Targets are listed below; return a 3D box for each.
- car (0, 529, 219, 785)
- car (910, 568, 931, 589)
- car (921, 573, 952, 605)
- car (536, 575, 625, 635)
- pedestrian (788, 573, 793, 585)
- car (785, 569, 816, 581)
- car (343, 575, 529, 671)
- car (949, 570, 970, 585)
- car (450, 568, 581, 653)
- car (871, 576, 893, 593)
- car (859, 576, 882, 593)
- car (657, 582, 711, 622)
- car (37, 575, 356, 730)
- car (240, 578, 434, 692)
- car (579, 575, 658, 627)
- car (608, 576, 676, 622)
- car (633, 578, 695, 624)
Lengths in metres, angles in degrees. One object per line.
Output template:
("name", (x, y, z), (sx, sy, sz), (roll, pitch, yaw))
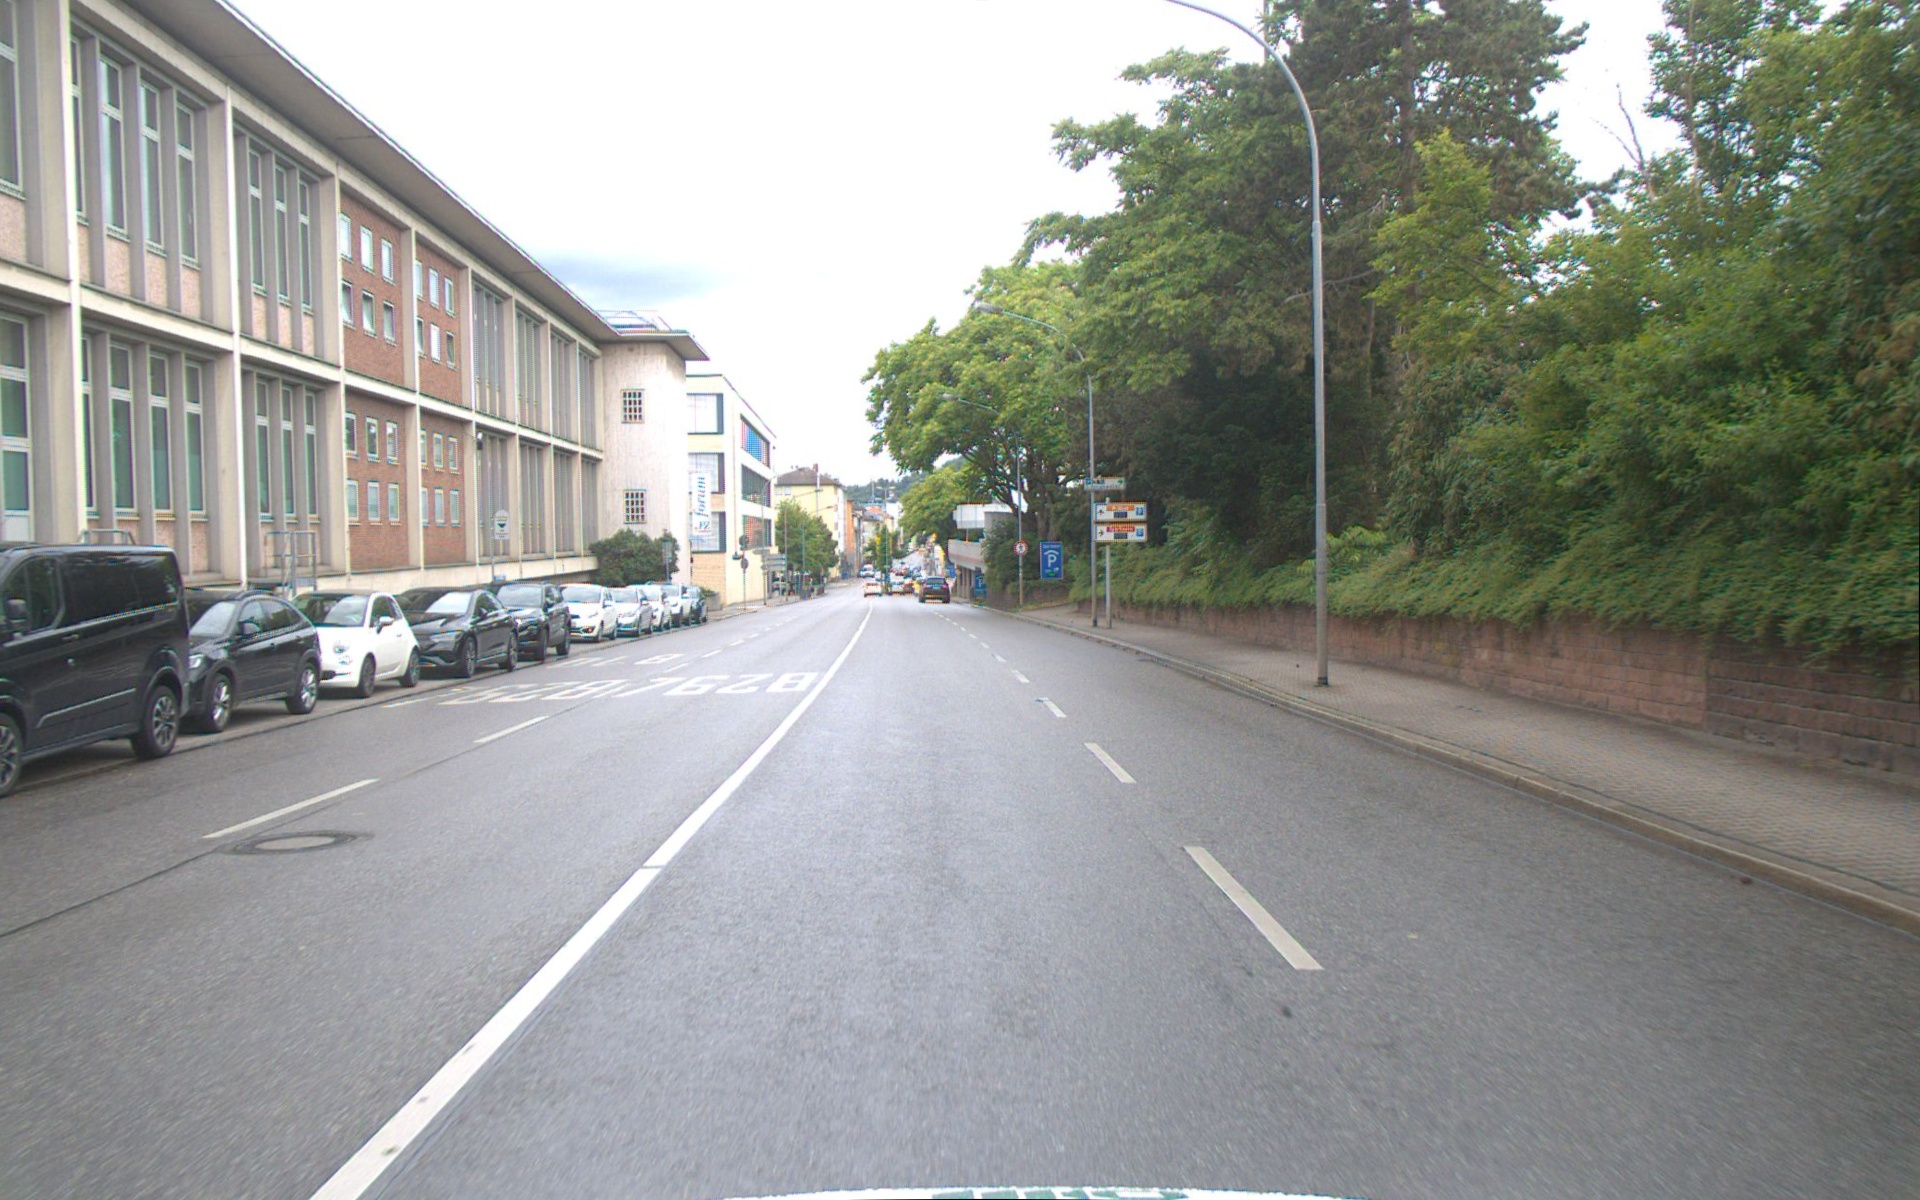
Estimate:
("car", (-8.403, 0.419, 14.160), (1.909, 1.977, 4.996), (0, 1, -1))
("car", (-3.991, -2.162, 165.592), (1.954, 1.869, 3.998), (-3, 2, -3))
("car", (-1.653, -0.778, 114.691), (2.049, 1.943, 4.099), (-3, 2, -2))
("car", (-10.266, 0.096, 44.953), (1.645, 1.549, 3.919), (0, 1, -2))
("pedestrian", (-18.739, -2.279, 182.902), (0.444, 1.300, 0.454), (0, 1, 8))
("car", (-18.462, -2.843, 191.394), (3.586, 1.256, 1.438), (-2, 1, -8))
("car", (-9.130, 0.341, 29.272), (1.778, 1.509, 4.909), (-1, 1, -1))
("car", (-0.098, -2.917, 212.898), (1.951, 1.709, 4.004), (-2, 1, 11))
("car", (-9.509, 0.200, 35.698), (1.805, 1.682, 4.513), (1, 0, -3))
("car", (-8.033, -1.566, 170.841), (1.956, 1.709, 3.994), (0, 1, -7))
("car", (-8.812, -1.540, 162.745), (1.956, 1.709, 3.994), (0, 1, -7))
("car", (-10.991, 0.044, 66.122), (1.713, 1.505, 4.178), (1, 1, -4))
("car", (-8.898, 0.525, 19.736), (1.823, 1.579, 4.312), (-1, 1, -1))
("car", (-9.106, 0.457, 24.453), (1.534, 1.509, 3.552), (-1, 1, -1))
("car", (-10.298, 0.017, 50.180), (1.713, 1.460, 4.483), (1, 0, -4))
("car", (-10.640, -0.060, 55.630), (1.713, 1.479, 4.178), (1, 1, -4))
("car", (-10.865, 0.006, 60.939), (1.713, 1.625, 4.179), (1, 1, -3))
